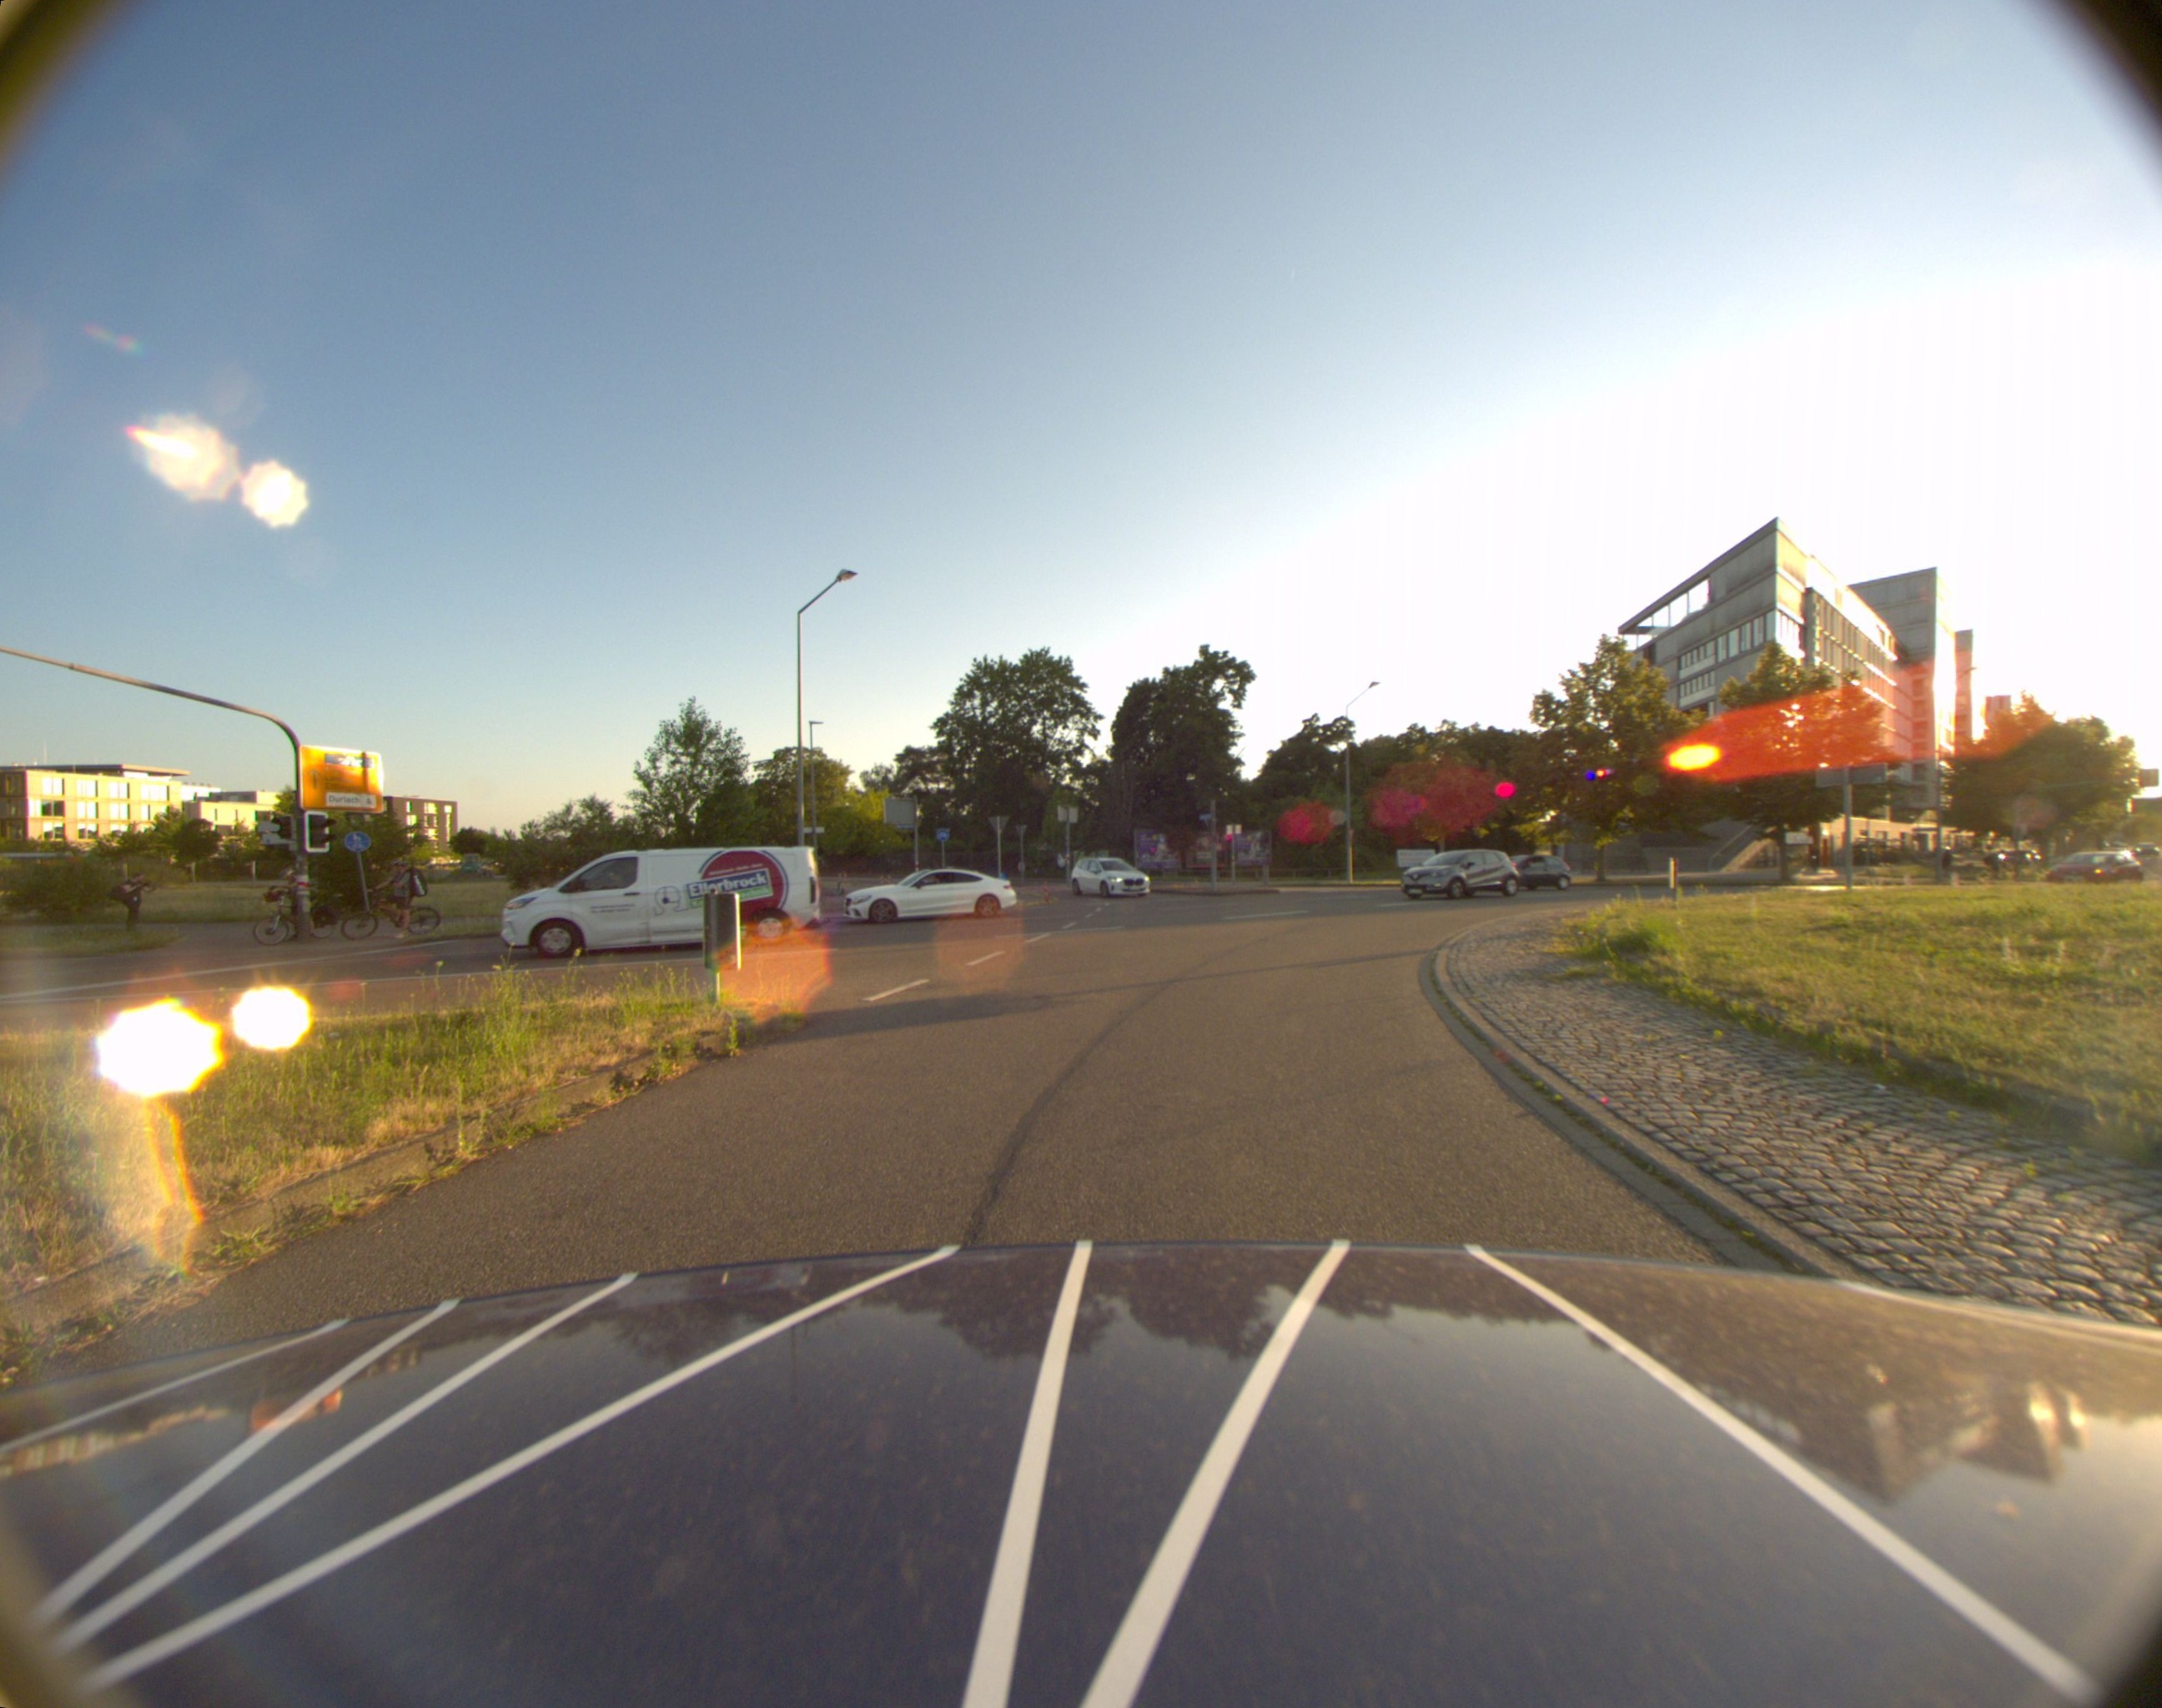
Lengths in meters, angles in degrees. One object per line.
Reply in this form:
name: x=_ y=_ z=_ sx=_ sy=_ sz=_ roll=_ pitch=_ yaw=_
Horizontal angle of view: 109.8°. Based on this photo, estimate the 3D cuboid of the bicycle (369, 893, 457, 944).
bicycle: x=-16.985 y=1.616 z=19.394 sx=0.456 sy=1.079 sz=1.928 roll=-1 pitch=2 yaw=2

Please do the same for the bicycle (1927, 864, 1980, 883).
bicycle: x=47.282 y=1.045 z=41.180 sx=1.858 sy=1.016 sz=0.308 roll=-1 pitch=0 yaw=44

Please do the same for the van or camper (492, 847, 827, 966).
van or camper: x=-7.801 y=0.882 z=14.754 sx=5.334 sy=1.946 sz=1.996 roll=-1 pitch=1 yaw=-20

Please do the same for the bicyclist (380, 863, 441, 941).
bicyclist: x=-17.005 y=1.191 z=19.286 sx=0.641 sy=1.887 sz=0.910 roll=-1 pitch=2 yaw=1

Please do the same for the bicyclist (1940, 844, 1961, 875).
bicyclist: x=47.362 y=0.288 z=41.383 sx=0.682 sy=1.638 sz=0.685 roll=0 pitch=0 yaw=44

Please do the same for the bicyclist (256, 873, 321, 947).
bicyclist: x=-19.156 y=1.342 z=18.382 sx=0.641 sy=1.693 sz=0.770 roll=-1 pitch=3 yaw=1

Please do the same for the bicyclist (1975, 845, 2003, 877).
bicyclist: x=49.084 y=0.380 z=41.085 sx=0.805 sy=1.745 sz=0.847 roll=-1 pitch=0 yaw=-30

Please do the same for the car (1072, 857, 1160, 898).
car: x=1.334 y=0.909 z=30.940 sx=1.893 sy=1.549 sz=4.087 roll=-1 pitch=0 yaw=-25

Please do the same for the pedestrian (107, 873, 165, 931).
pedestrian: x=-26.163 y=1.312 z=21.053 sx=0.567 sy=1.541 sz=0.797 roll=-1 pitch=1 yaw=4

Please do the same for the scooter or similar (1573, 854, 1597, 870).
scooter or similar: x=38.901 y=0.638 z=58.692 sx=0.367 sy=1.213 sz=1.573 roll=-1 pitch=0 yaw=-27

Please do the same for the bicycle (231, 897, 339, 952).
bicycle: x=-19.087 y=1.660 z=18.291 sx=0.456 sy=1.079 sz=1.927 roll=-1 pitch=3 yaw=2

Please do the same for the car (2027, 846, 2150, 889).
car: x=41.275 y=0.515 z=31.145 sx=4.003 sy=1.612 sz=1.775 roll=-1 pitch=0 yaw=-17

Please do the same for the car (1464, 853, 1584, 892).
car: x=17.802 y=0.711 z=30.586 sx=4.001 sy=1.431 sz=1.744 roll=-1 pitch=0 yaw=-12

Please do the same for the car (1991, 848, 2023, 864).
car: x=89.134 y=0.166 z=73.137 sx=4.008 sy=1.455 sz=1.798 roll=0 pitch=0 yaw=-37

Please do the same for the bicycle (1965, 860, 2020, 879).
bicycle: x=49.549 y=0.821 z=41.321 sx=0.438 sy=1.016 sz=1.859 roll=-1 pitch=0 yaw=-29

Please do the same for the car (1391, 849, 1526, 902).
car: x=12.228 y=0.641 z=24.597 sx=4.005 sy=1.527 sz=1.742 roll=-1 pitch=0 yaw=-24

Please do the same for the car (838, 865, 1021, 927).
car: x=-4.117 y=1.082 z=20.824 sx=4.566 sy=1.422 sz=1.741 roll=-1 pitch=0 yaw=-28
